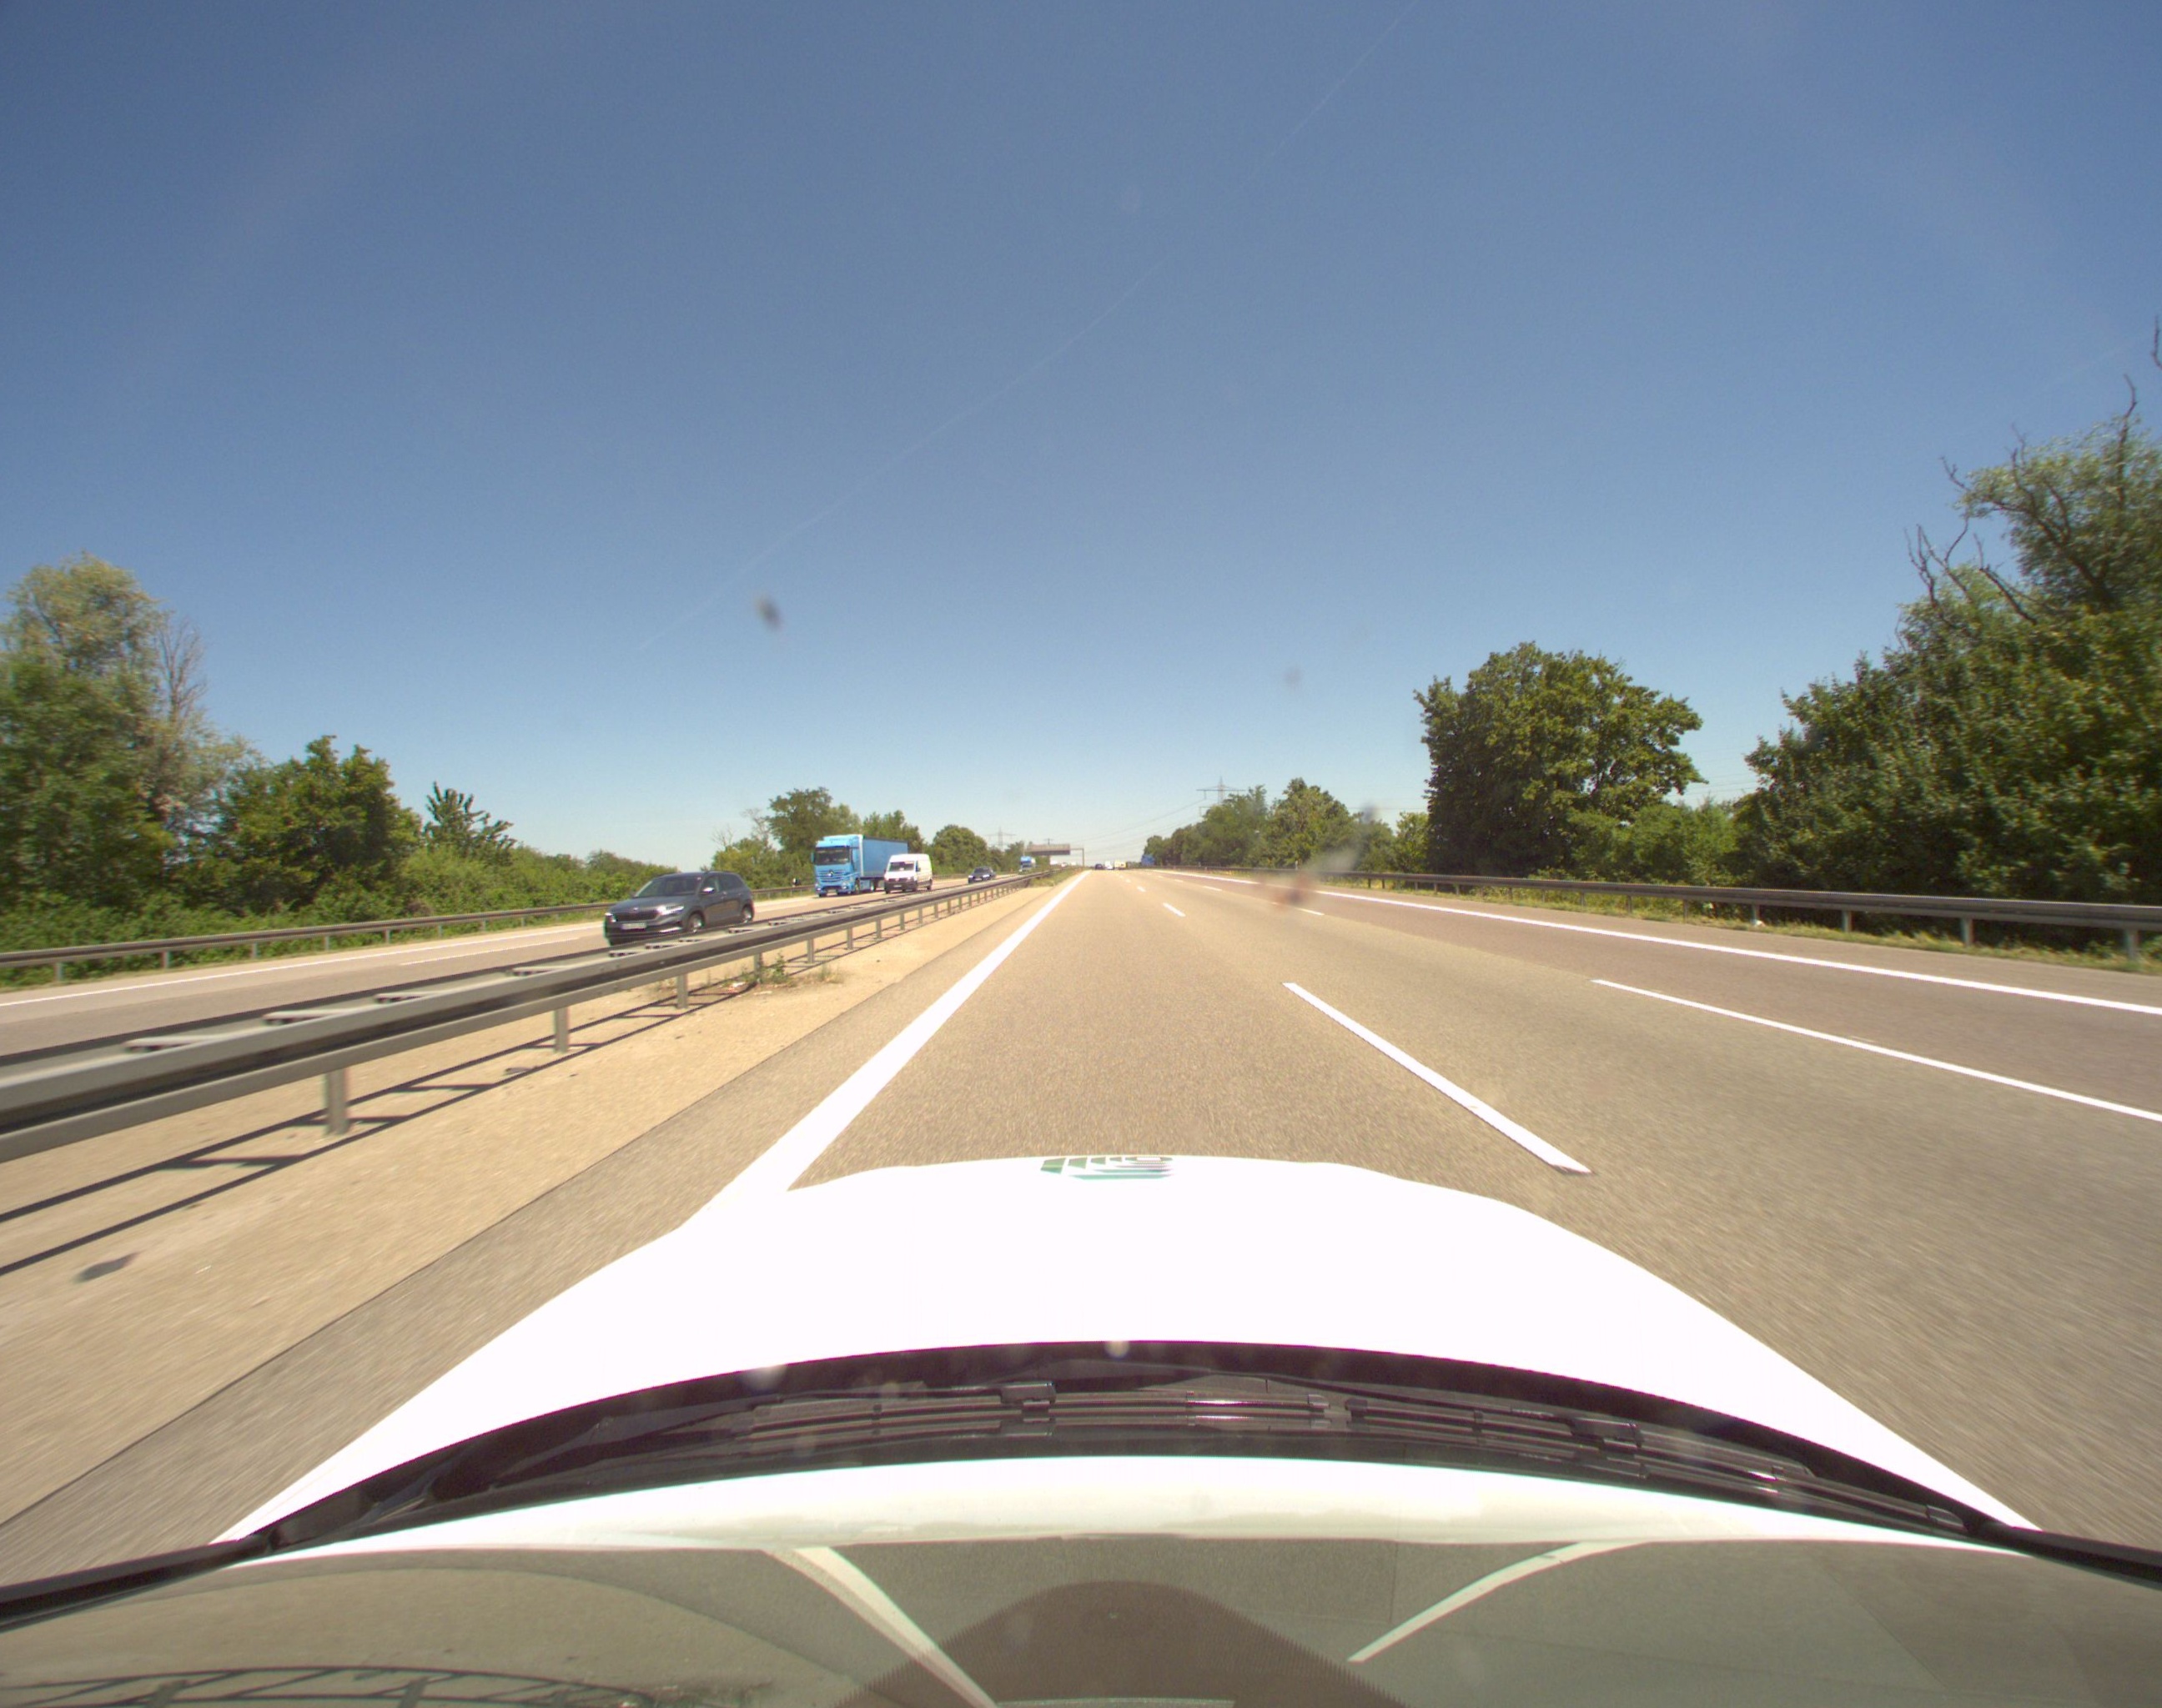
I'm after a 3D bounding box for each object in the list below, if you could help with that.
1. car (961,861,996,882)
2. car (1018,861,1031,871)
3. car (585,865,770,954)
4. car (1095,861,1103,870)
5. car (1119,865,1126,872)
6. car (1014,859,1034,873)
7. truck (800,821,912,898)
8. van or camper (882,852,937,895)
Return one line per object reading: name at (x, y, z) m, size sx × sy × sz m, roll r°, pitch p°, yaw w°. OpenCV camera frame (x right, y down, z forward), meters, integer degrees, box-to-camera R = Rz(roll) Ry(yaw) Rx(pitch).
car at (-8.115, 1.381, 64.979) m, size 1.986 × 1.484 × 4.788 m, roll -2°, pitch -1°, yaw 1°
car at (-9.796, 2.128, 141.594) m, size 1.987 × 1.618 × 4.000 m, roll -2°, pitch -1°, yaw 1°
car at (-9.176, 1.179, 19.025) m, size 1.986 × 1.690 × 4.409 m, roll -3°, pitch 0°, yaw 1°
car at (3.972, 2.596, 182.243) m, size 1.785 × 2.014 × 3.888 m, roll 0°, pitch -1°, yaw 1°
car at (13.266, 4.585, 260.897) m, size 1.987 × 2.014 × 4.000 m, roll -2°, pitch -1°, yaw 1°
car at (-7.299, 1.543, 104.198) m, size 1.986 × 1.730 × 5.109 m, roll -2°, pitch -1°, yaw 1°
truck at (-16.228, 0.411, 60.938) m, size 3.215 × 4.720 × 16.859 m, roll -4°, pitch -1°, yaw 1°
van or camper at (-11.520, 1.277, 55.263) m, size 1.987 × 2.566 × 7.034 m, roll -4°, pitch -1°, yaw 0°
